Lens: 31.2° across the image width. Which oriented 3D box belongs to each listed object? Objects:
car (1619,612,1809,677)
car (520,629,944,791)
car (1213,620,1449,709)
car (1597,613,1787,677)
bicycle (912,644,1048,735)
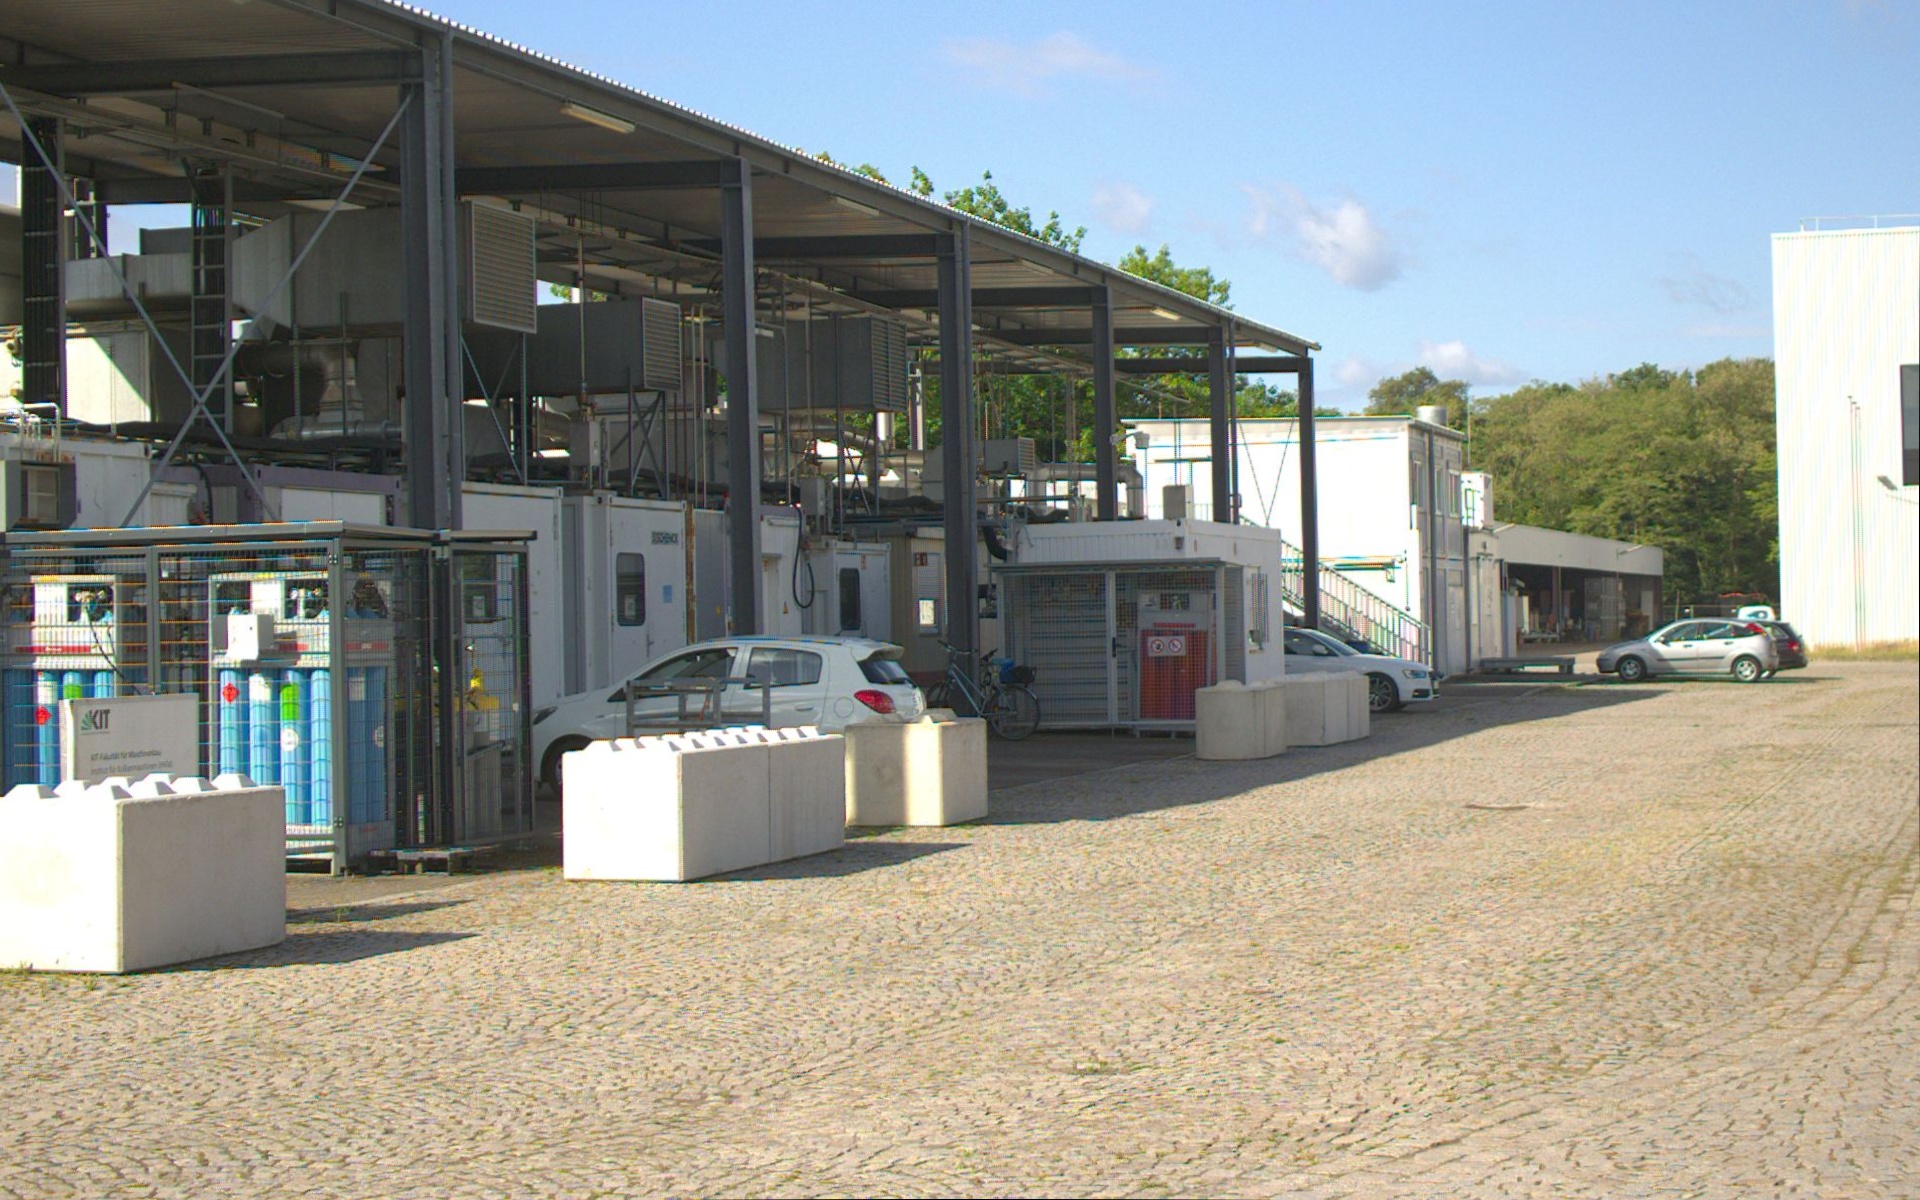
[{"bbox_3d":[18.133,1.061,82.670,4.348,1.465,1.739,-1,-1,16],"label":"car"},{"bbox_3d":[-2.029,0.983,30.949,3.464,1.371,1.610,-1,-1,14],"label":"car"},{"bbox_3d":[6.186,1.075,57.261,3.688,1.404,1.674,-1,-1,14],"label":"car"},{"bbox_3d":[16.968,1.034,79.644,4.177,1.399,1.739,-1,-1,16],"label":"car"},{"bbox_3d":[0.256,1.155,44.344,1.667,1.133,0.485,-1,-1,16],"label":"bicycle"}]
